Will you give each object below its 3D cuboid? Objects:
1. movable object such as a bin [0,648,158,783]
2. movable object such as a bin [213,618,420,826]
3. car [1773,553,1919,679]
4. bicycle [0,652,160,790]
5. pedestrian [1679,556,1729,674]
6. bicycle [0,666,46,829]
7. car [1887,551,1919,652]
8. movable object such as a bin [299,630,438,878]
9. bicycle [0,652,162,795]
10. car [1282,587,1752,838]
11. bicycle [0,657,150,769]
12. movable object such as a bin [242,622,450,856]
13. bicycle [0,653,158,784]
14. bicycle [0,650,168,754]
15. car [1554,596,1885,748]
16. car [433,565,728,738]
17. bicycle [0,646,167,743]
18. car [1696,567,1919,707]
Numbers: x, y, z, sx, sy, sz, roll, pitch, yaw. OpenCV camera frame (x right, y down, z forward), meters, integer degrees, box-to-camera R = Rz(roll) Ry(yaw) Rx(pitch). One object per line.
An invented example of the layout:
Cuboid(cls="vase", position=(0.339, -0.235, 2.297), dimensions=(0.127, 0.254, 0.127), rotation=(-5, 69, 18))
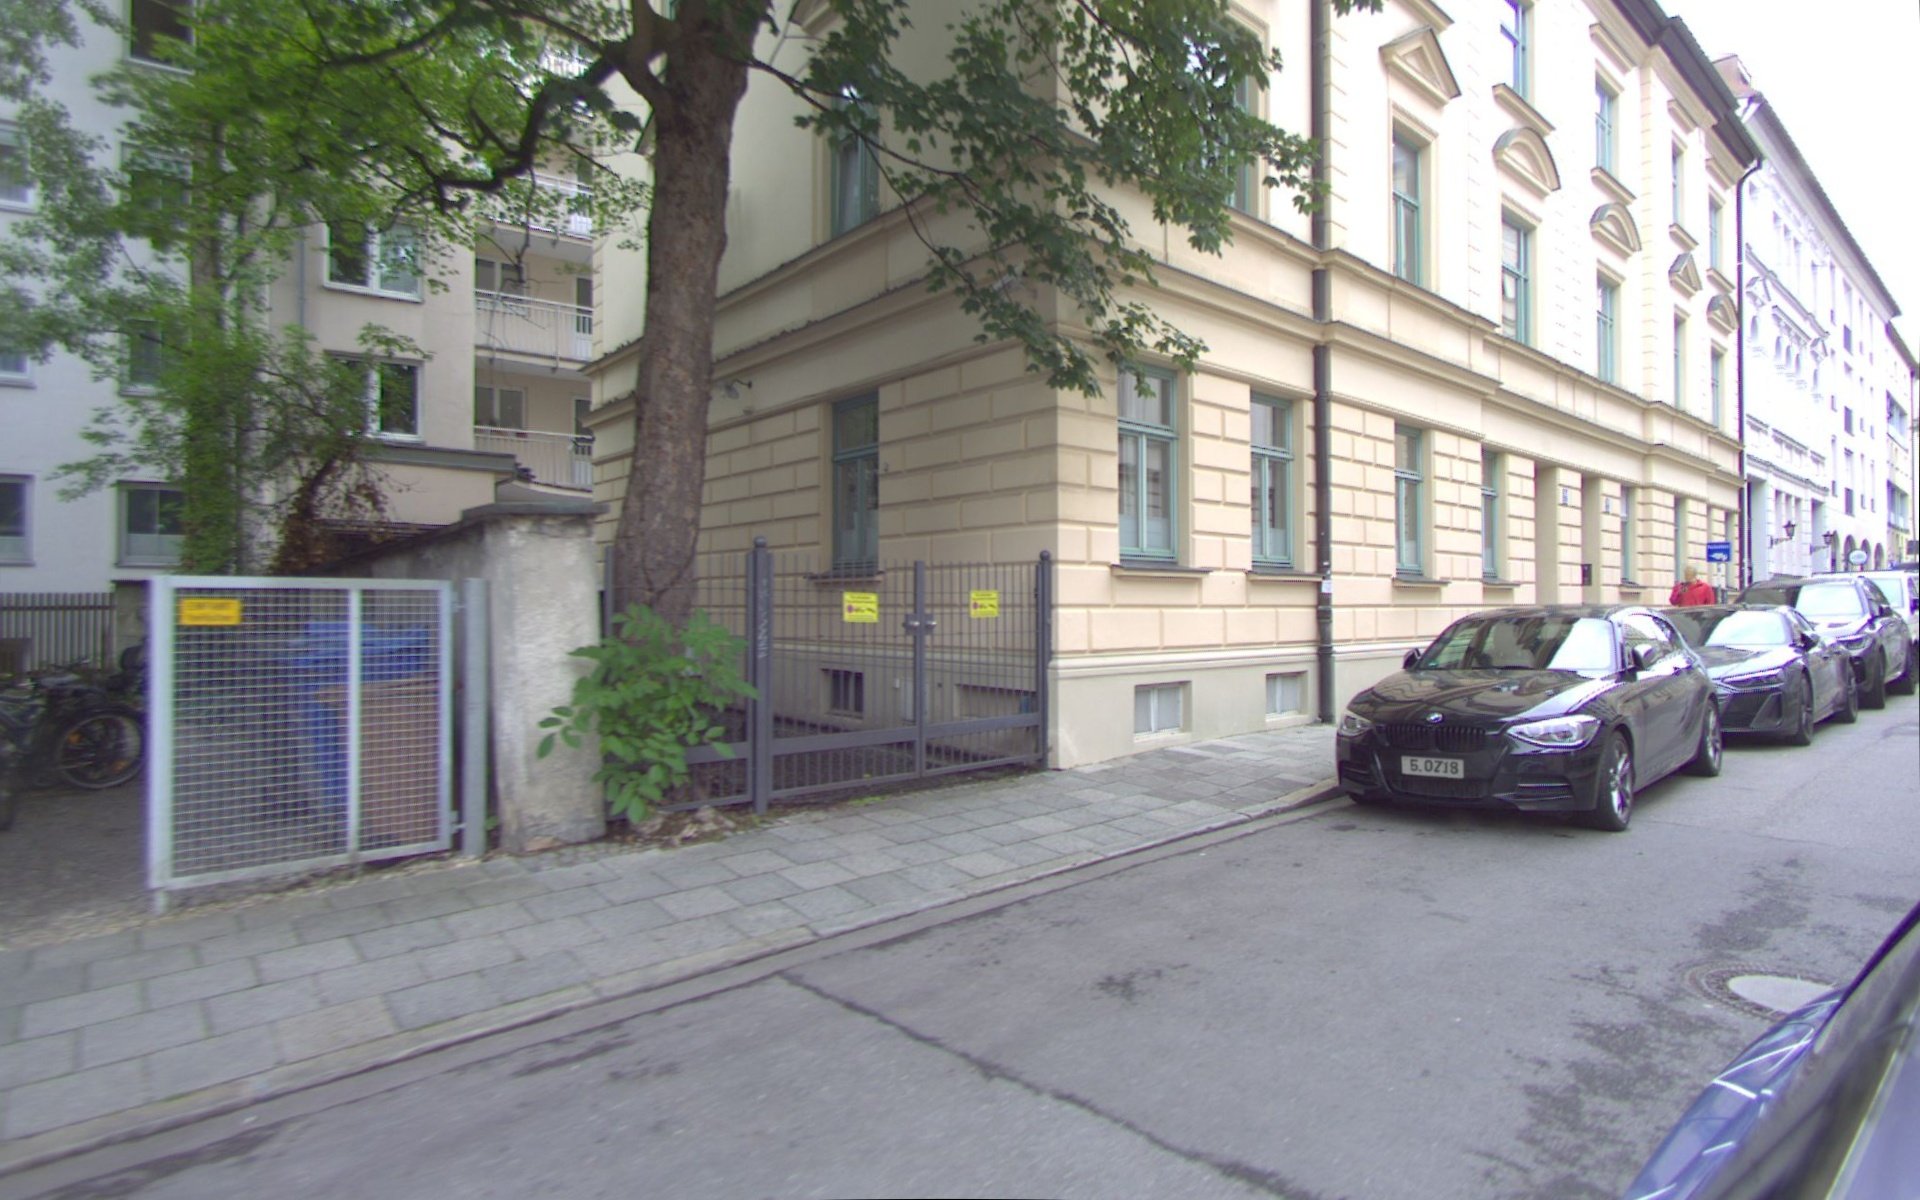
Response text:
Cuboid(cls="movable object such as a bin", position=(-8.912, 1.111, 9.958), dimensions=(1.585, 1.216, 0.577), rotation=(0, -2, -41))
Cuboid(cls="movable object such as a bin", position=(-4.877, 0.850, 7.655), dimensions=(1.148, 1.377, 1.205), rotation=(0, -2, -42))
Cuboid(cls="car", position=(16.825, 0.241, 18.540), dimensions=(4.972, 2.039, 1.998), rotation=(0, 0, -39))
Cuboid(cls="bicycle", position=(-8.210, 1.076, 9.136), dimensions=(1.540, 1.124, 0.441), rotation=(0, 0, -41))
Cuboid(cls="pedestrian", position=(12.908, 0.257, 17.569), dimensions=(0.448, 2.003, 0.580), rotation=(0, -1, -41))
Cuboid(cls="bicycle", position=(-7.311, 1.078, 7.701), dimensions=(1.562, 1.064, 0.395), rotation=(0, 0, 43))
Cuboid(cls="car", position=(26.575, -0.019, 26.954), dimensions=(5.000, 2.526, 2.012), rotation=(0, -4, -40))
Cuboid(cls="movable object such as a bin", position=(-3.586, 0.881, 6.130), dimensions=(0.622, 1.377, 0.590), rotation=(0, -3, -42))
Cuboid(cls="bicycle", position=(-7.913, 1.057, 8.779), dimensions=(1.540, 1.124, 0.441), rotation=(0, 0, -41))
Cuboid(cls="car", position=(4.529, 0.651, 7.891), dimensions=(4.434, 1.392, 1.856), rotation=(-1, -2, -43))
Cuboid(cls="bicycle", position=(-9.548, 1.171, 10.680), dimensions=(1.555, 1.064, 0.612), rotation=(0, -2, -41))
Cuboid(cls="movable object such as a bin", position=(-4.133, 0.860, 6.807), dimensions=(1.035, 1.377, 1.000), rotation=(0, -3, -42))
Cuboid(cls="bicycle", position=(-8.541, 1.098, 9.528), dimensions=(1.540, 1.124, 0.441), rotation=(0, 0, -41))
Cuboid(cls="bicycle", position=(-10.191, 1.151, 11.750), dimensions=(1.555, 1.064, 0.612), rotation=(0, -2, -41))
Cuboid(cls="car", position=(8.484, 0.624, 11.154), dimensions=(4.512, 1.330, 1.997), rotation=(0, 0, -41))
Cuboid(cls="car", position=(-4.365, 0.493, 11.322), dimensions=(1.817, 1.594, 3.805), rotation=(0, -1, -42))
Cuboid(cls="bicycle", position=(-10.825, 1.139, 12.547), dimensions=(1.555, 1.064, 0.612), rotation=(0, -2, -41))
Cuboid(cls="car", position=(12.429, 0.431, 14.577), dimensions=(4.431, 1.708, 1.997), rotation=(0, 0, -41))
